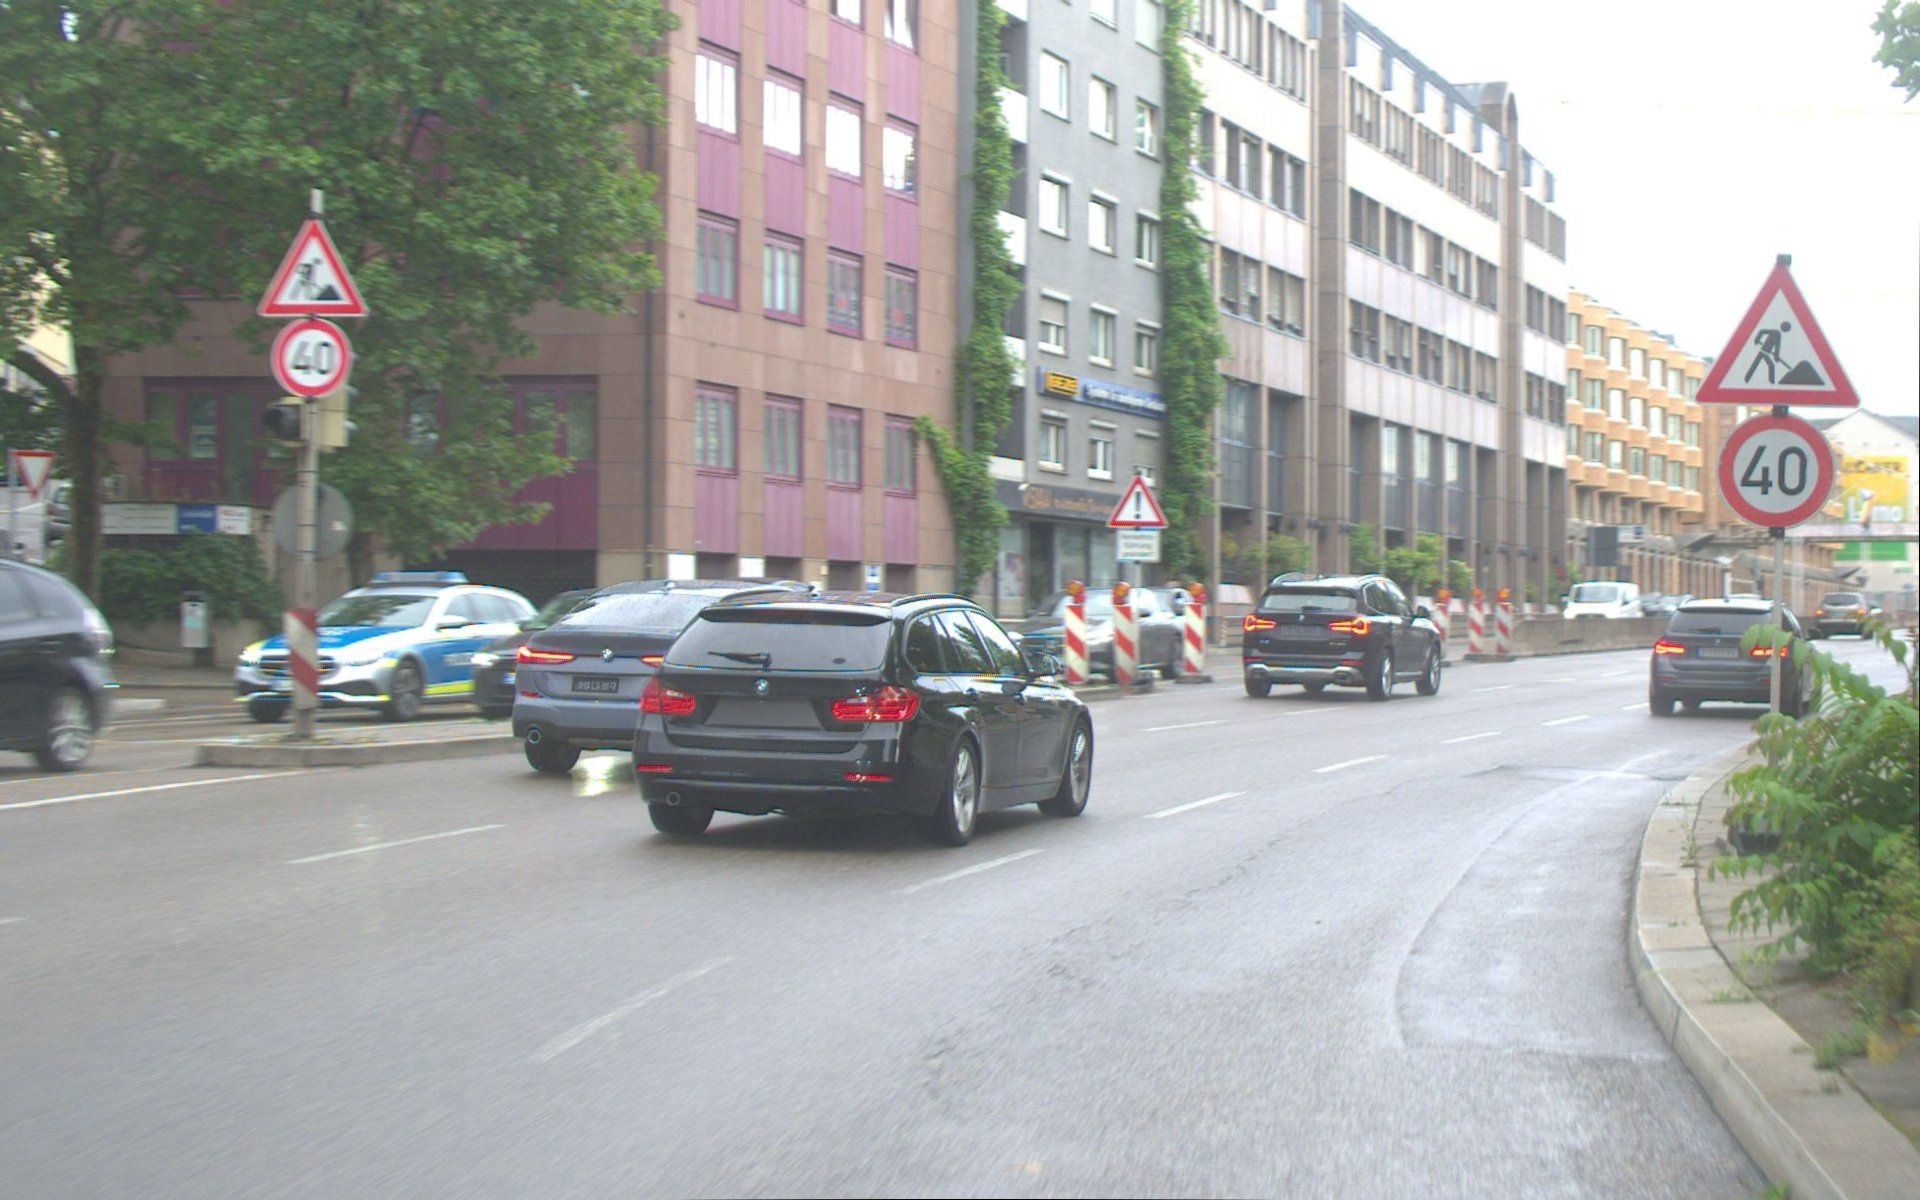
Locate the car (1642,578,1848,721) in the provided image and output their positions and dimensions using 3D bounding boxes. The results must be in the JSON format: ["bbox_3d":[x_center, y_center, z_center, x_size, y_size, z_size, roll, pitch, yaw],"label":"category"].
[{"bbox_3d":[9.798,0.600,42.729,1.902,1.688,3.995,0,-1,22],"label":"car"}]

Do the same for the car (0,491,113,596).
[{"bbox_3d":[-18.458,-1.173,69.749,1.930,1.861,4.002,0,5,-6],"label":"car"}]

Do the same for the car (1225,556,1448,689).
[{"bbox_3d":[5.086,0.305,46.026,1.902,1.688,3.995,0,-1,23],"label":"car"}]

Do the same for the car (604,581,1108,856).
[{"bbox_3d":[-0.476,0.617,20.577,1.792,1.421,4.610,1,0,14],"label":"car"}]

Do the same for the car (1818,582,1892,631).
[{"bbox_3d":[31.093,0.234,119.386,1.902,1.688,3.995,0,-1,23],"label":"car"}]

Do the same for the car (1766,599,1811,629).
[{"bbox_3d":[42.025,0.723,174.338,1.862,1.528,4.226,0,-1,19],"label":"car"}]

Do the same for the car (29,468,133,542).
[{"bbox_3d":[-21.850,-2.380,85.549,1.930,1.668,4.002,0,4,-6],"label":"car"}]

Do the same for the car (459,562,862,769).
[{"bbox_3d":[-2.155,0.469,26.000,1.791,1.422,4.382,0,0,13],"label":"car"}]

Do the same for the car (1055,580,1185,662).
[{"bbox_3d":[3.042,0.387,64.887,1.557,1.479,2.946,0,1,22],"label":"car"}]

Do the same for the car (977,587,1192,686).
[{"bbox_3d":[1.993,0.541,53.220,1.995,1.433,4.933,-1,0,19],"label":"car"}]

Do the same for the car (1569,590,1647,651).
[{"bbox_3d":[21.723,0.694,115.161,1.995,1.984,5.284,0,-1,17],"label":"car"}]

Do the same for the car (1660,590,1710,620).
[{"bbox_3d":[39.819,0.289,188.685,1.995,1.614,4.758,0,-1,20],"label":"car"}]

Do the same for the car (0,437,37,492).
[{"bbox_3d":[-33.830,-4.793,121.177,1.993,1.836,4.002,0,4,-8],"label":"car"}]

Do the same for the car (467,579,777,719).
[{"bbox_3d":[-3.550,0.509,36.851,1.768,1.412,4.079,0,-1,19],"label":"car"}]

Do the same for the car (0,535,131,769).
[{"bbox_3d":[-7.630,0.382,23.638,1.854,1.617,4.589,-1,0,13],"label":"car"}]

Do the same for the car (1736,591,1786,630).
[{"bbox_3d":[36.673,0.494,157.329,1.722,1.764,4.420,0,-1,20],"label":"car"}]

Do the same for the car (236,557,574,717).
[{"bbox_3d":[-6.108,0.410,38.413,1.768,1.676,4.586,0,-1,19],"label":"car"}]

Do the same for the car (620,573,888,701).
[{"bbox_3d":[-2.782,0.486,47.756,1.995,1.672,4.933,-1,0,19],"label":"car"}]
